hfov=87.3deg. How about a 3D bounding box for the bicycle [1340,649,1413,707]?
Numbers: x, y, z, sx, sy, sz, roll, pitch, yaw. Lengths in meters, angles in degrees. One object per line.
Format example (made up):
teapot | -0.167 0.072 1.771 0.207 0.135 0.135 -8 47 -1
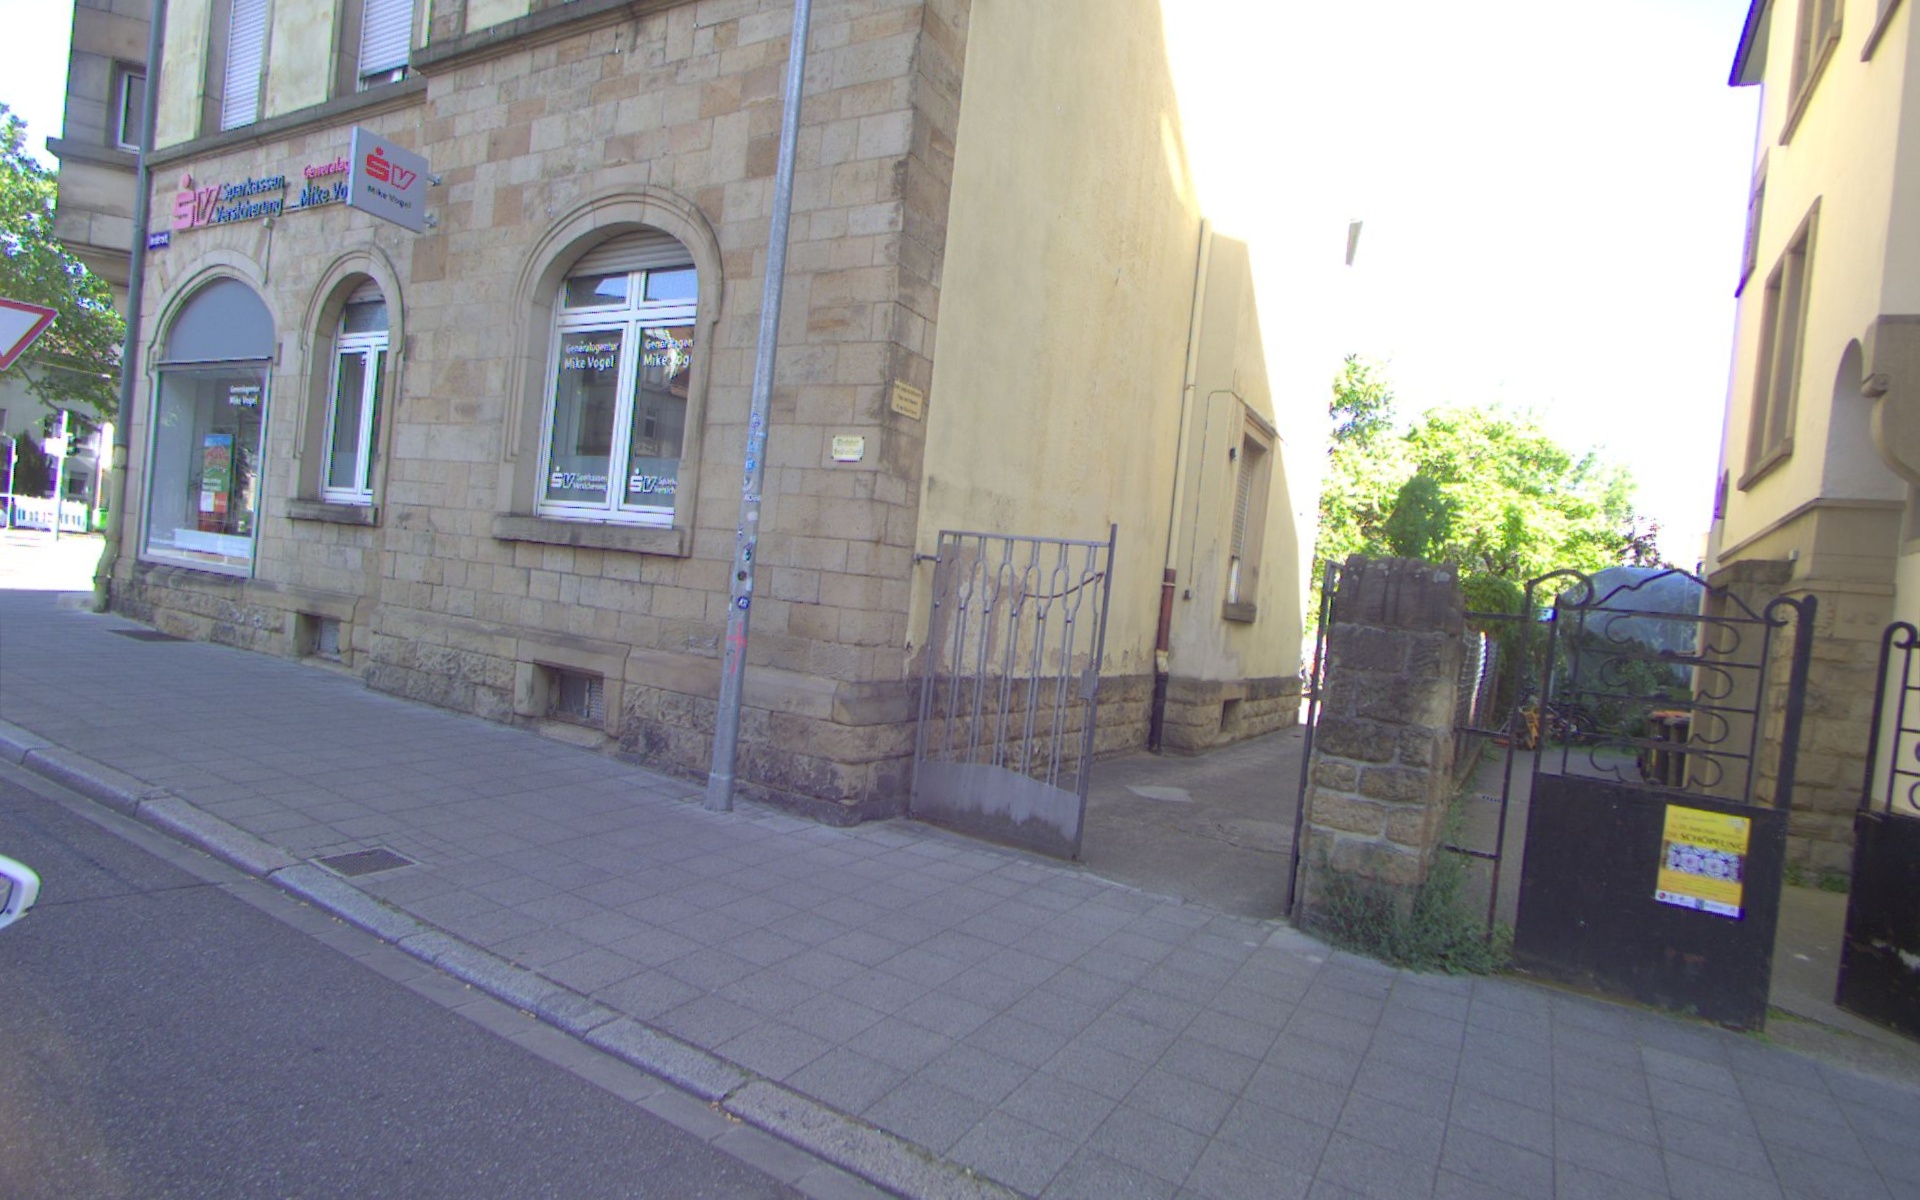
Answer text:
bicycle | 10.385 1.920 25.224 0.860 1.180 2.659 6 0 6

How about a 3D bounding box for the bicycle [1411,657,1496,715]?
bicycle | 12.072 2.079 24.754 0.855 1.124 2.864 6 0 7

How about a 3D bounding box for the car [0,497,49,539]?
car | -38.693 -3.368 39.965 1.496 1.506 3.391 7 0 10

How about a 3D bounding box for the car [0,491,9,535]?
car | -34.305 -3.147 33.261 1.599 1.491 3.798 7 1 19

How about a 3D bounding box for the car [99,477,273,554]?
car | -34.161 -3.653 44.716 1.962 2.600 6.061 7 0 14
